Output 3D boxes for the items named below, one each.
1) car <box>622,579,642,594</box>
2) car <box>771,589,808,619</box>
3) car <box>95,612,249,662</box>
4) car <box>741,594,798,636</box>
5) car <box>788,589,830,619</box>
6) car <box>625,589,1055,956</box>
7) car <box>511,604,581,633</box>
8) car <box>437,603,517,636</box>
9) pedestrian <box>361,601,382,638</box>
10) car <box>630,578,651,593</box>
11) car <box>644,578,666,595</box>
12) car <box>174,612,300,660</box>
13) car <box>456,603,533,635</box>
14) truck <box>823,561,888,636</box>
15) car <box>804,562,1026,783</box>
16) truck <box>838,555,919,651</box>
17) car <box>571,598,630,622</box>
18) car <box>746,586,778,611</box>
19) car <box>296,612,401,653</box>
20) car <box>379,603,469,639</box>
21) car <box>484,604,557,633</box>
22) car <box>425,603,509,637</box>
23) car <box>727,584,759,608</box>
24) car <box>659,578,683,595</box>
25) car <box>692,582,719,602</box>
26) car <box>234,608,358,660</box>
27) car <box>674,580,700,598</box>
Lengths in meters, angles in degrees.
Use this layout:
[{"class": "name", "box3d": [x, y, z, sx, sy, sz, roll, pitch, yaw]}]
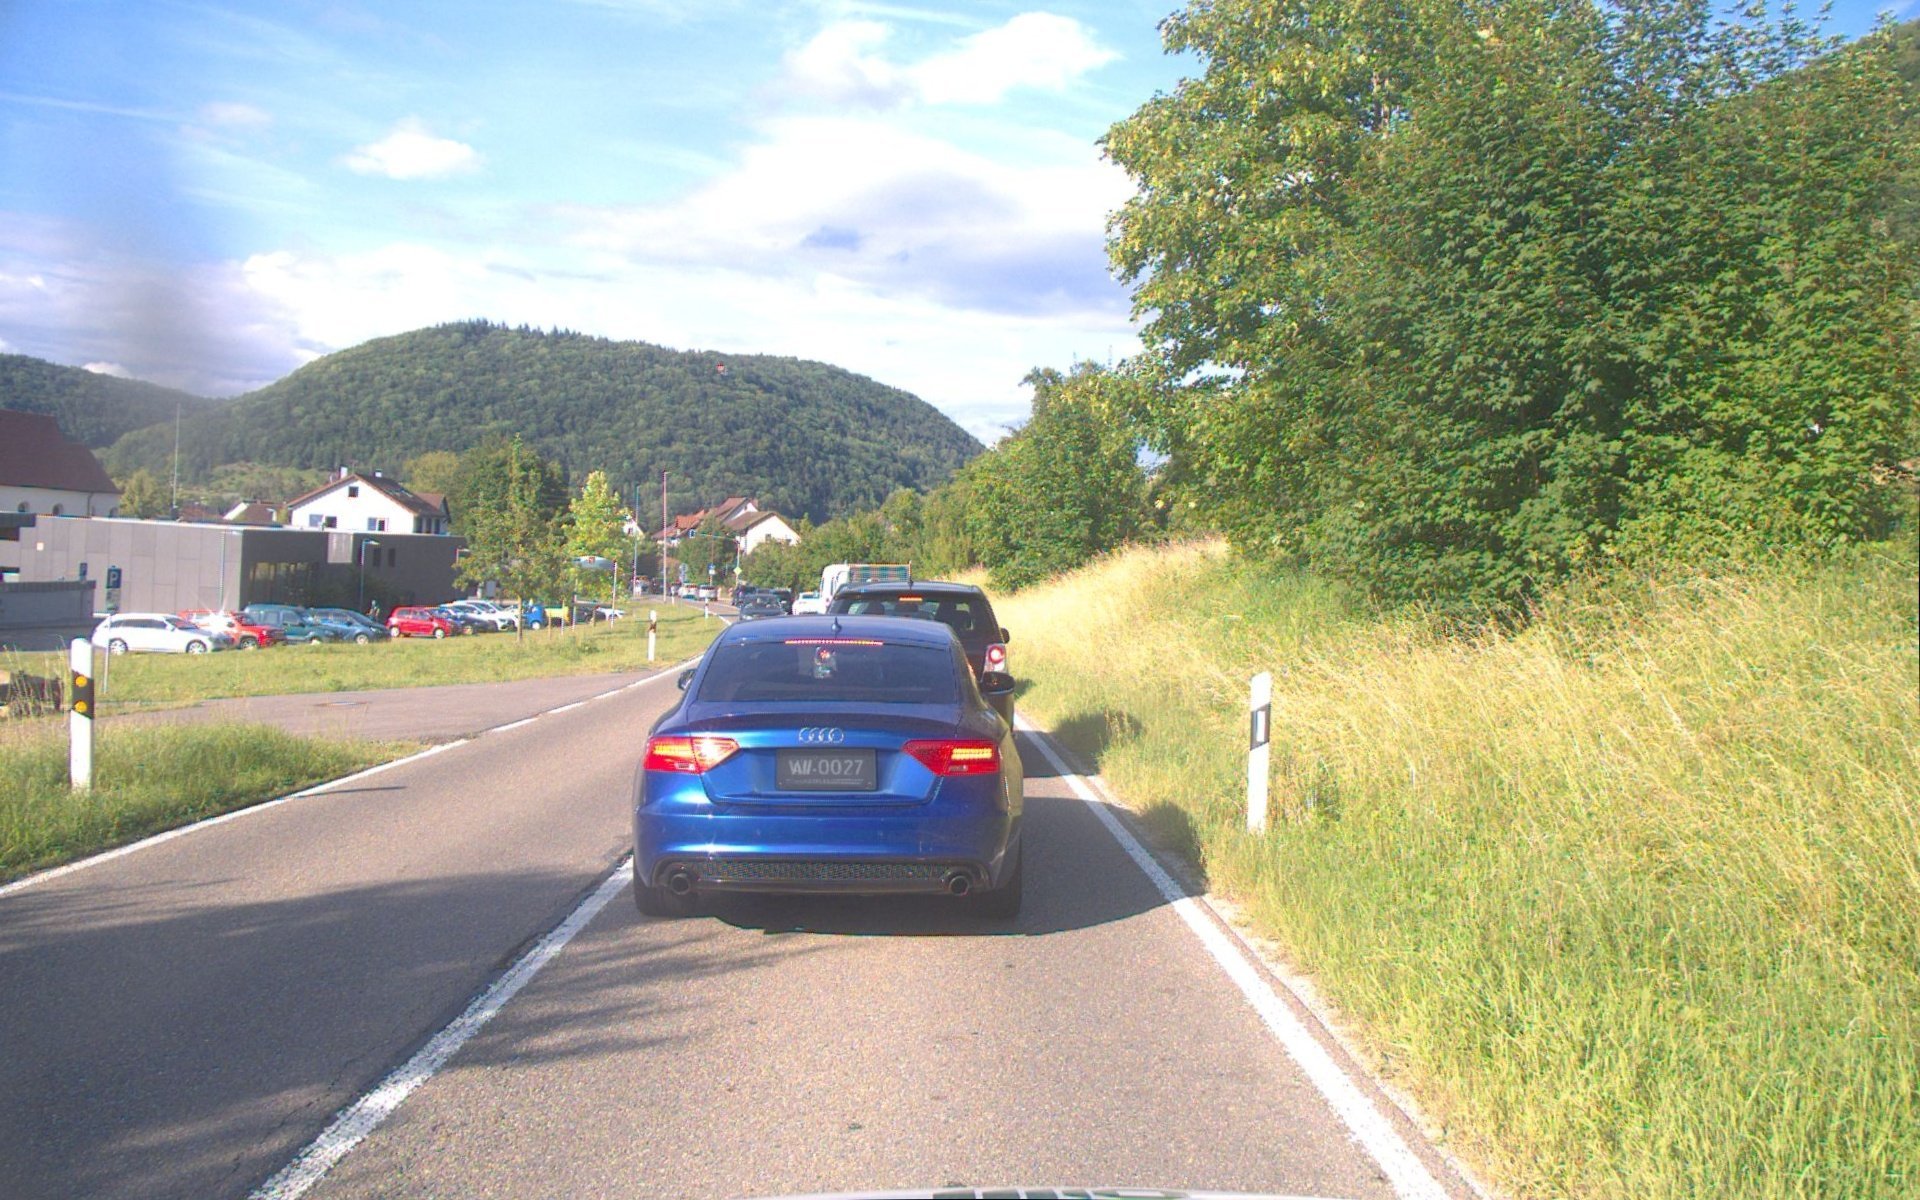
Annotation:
[{"class": "car", "box3d": [-40.024, -1.619, 201.794, 1.817, 1.742, 3.978, 1, 0, -19]}, {"class": "car", "box3d": [-10.311, 0.223, 99.876, 1.813, 1.742, 3.988, 1, 0, -12]}, {"class": "car", "box3d": [-28.773, 1.345, 60.500, 4.637, 1.741, 1.999, 1, 0, -3]}, {"class": "car", "box3d": [-6.997, 0.553, 60.974, 1.669, 1.455, 4.049, 1, 0, -1]}, {"class": "car", "box3d": [-7.937, 0.199, 86.853, 1.812, 1.508, 3.989, 1, 0, -11]}, {"class": "car", "box3d": [-0.483, 0.709, 8.614, 1.718, 1.455, 3.846, 1, 0, 0]}, {"class": "car", "box3d": [-26.014, 1.159, 103.946, 3.908, 1.741, 1.999, 1, 0, -3]}, {"class": "car", "box3d": [-26.919, 1.086, 92.277, 3.908, 1.741, 1.999, 1, 0, -3]}, {"class": "pedestrian", "box3d": [-32.921, 1.090, 92.590, 0.808, 2.049, 0.973, 1, -1, -1]}, {"class": "car", "box3d": [-37.274, -1.667, 192.879, 1.817, 1.742, 3.978, 1, 0, -19]}, {"class": "car", "box3d": [-33.582, -1.478, 182.268, 1.817, 1.742, 3.978, 1, 0, -19]}, {"class": "car", "box3d": [-27.700, 1.378, 63.449, 3.908, 1.741, 1.999, 1, 0, -3]}, {"class": "car", "box3d": [-26.874, 1.103, 95.562, 3.908, 1.741, 1.999, 1, 0, -3]}, {"class": "truck", "box3d": [-3.949, -0.046, 61.396, 2.186, 2.615, 6.700, 1, 0, -5]}, {"class": "car", "box3d": [-0.349, 0.579, 14.900, 1.718, 1.710, 3.846, 1, 0, 0]}, {"class": "truck", "box3d": [-2.435, 0.095, 48.679, 2.186, 2.615, 6.099, 1, 0, -4]}, {"class": "car", "box3d": [-25.714, 0.723, 118.410, 3.908, 1.606, 1.751, 1, 0, -3]}, {"class": "car", "box3d": [-14.208, -0.089, 118.703, 1.814, 1.742, 3.985, 1, 0, -14]}, {"class": "car", "box3d": [-27.078, 1.437, 73.306, 3.908, 1.741, 1.999, 1, 0, -3]}, {"class": "car", "box3d": [-27.199, 1.041, 84.041, 3.908, 1.741, 1.999, 1, 0, -3]}, {"class": "car", "box3d": [-26.913, 1.131, 101.349, 3.908, 1.741, 1.999, 1, 0, -3]}, {"class": "car", "box3d": [-26.390, 1.077, 88.630, 3.908, 1.741, 1.999, 1, 0, -3]}, {"class": "car", "box3d": [-16.779, -0.313, 127.798, 1.817, 1.742, 3.980, 1, 0, -18]}, {"class": "car", "box3d": [-29.980, -1.365, 171.577, 1.817, 1.742, 3.978, 1, 0, -19]}, {"class": "car", "box3d": [-23.109, -0.741, 150.347, 1.817, 1.742, 3.980, 1, 0, -18]}, {"class": "car", "box3d": [-27.669, 1.406, 69.004, 4.318, 2.043, 1.999, 1, 0, -3]}, {"class": "car", "box3d": [-26.557, -1.046, 160.926, 1.817, 1.742, 3.978, 1, 0, -19]}]
